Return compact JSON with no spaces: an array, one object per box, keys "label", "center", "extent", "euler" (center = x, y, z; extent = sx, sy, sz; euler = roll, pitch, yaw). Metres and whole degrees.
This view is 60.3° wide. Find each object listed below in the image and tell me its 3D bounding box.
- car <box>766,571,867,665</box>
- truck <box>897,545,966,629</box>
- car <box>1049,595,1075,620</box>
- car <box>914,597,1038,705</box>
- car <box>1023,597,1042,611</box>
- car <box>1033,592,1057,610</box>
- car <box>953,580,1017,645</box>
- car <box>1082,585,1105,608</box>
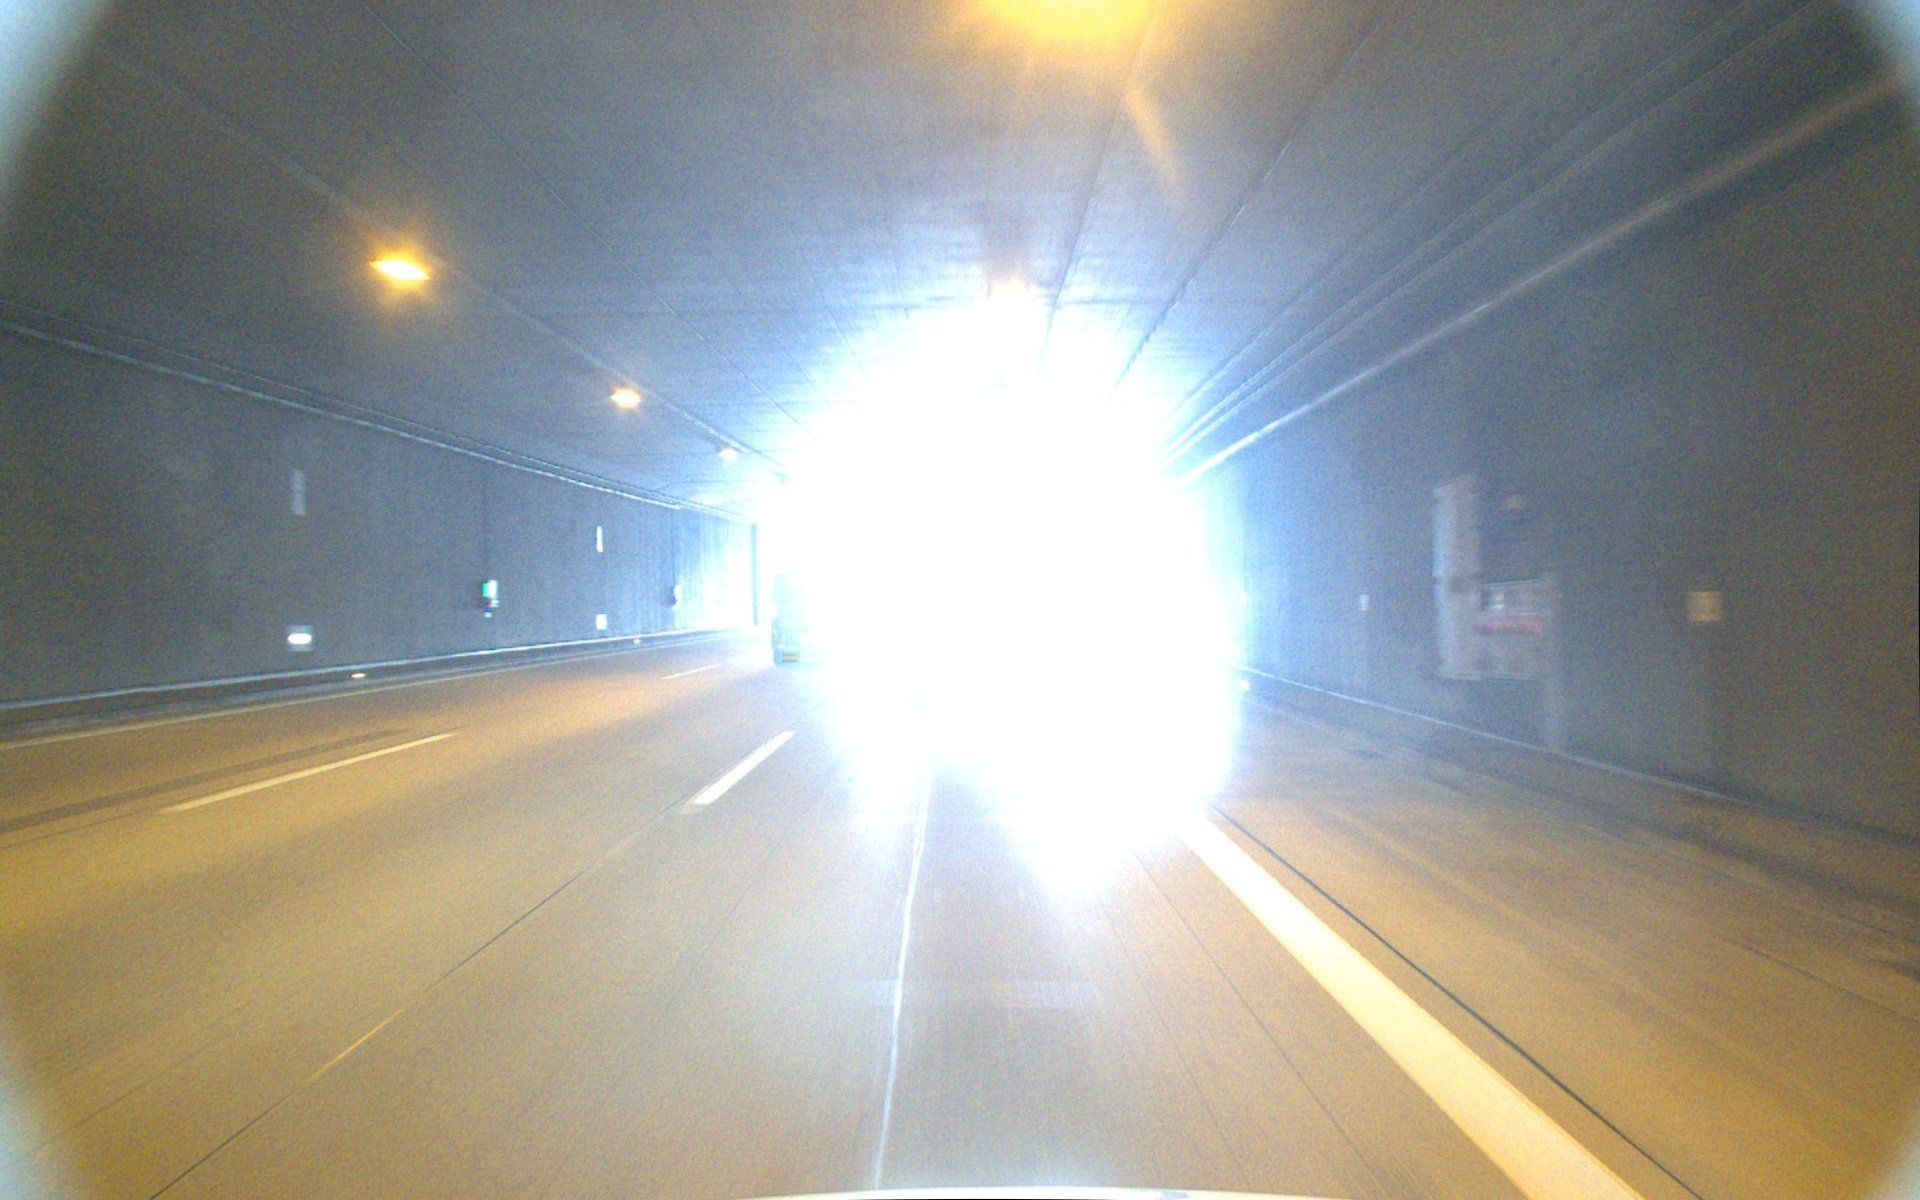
[{"label":"car","center":[-3.114,0.380,36.680],"extent":[1.870,1.978,3.871],"euler":[0,0,0]},{"label":"truck","center":[-1.280,-0.587,78.645],"extent":[2.976,3.737,7.393],"euler":[1,0,1]},{"label":"car","center":[7.700,0.582,125.061],"extent":[1.890,1.671,4.001],"euler":[0,-2,4]},{"label":"car","center":[0.230,0.697,24.657],"extent":[1.706,1.489,3.871],"euler":[0,0,0]},{"label":"car","center":[9.027,0.516,205.268],"extent":[1.889,1.671,4.003],"euler":[1,0,9]},{"label":"car","center":[8.185,0.135,159.321],"extent":[1.951,1.660,4.003],"euler":[0,-2,9]},{"label":"car","center":[0.805,0.360,50.270],"extent":[1.818,1.887,4.001],"euler":[1,0,2]},{"label":"car","center":[12.490,-0.313,154.410],"extent":[1.951,2.049,4.002],"euler":[0,-2,7]}]
